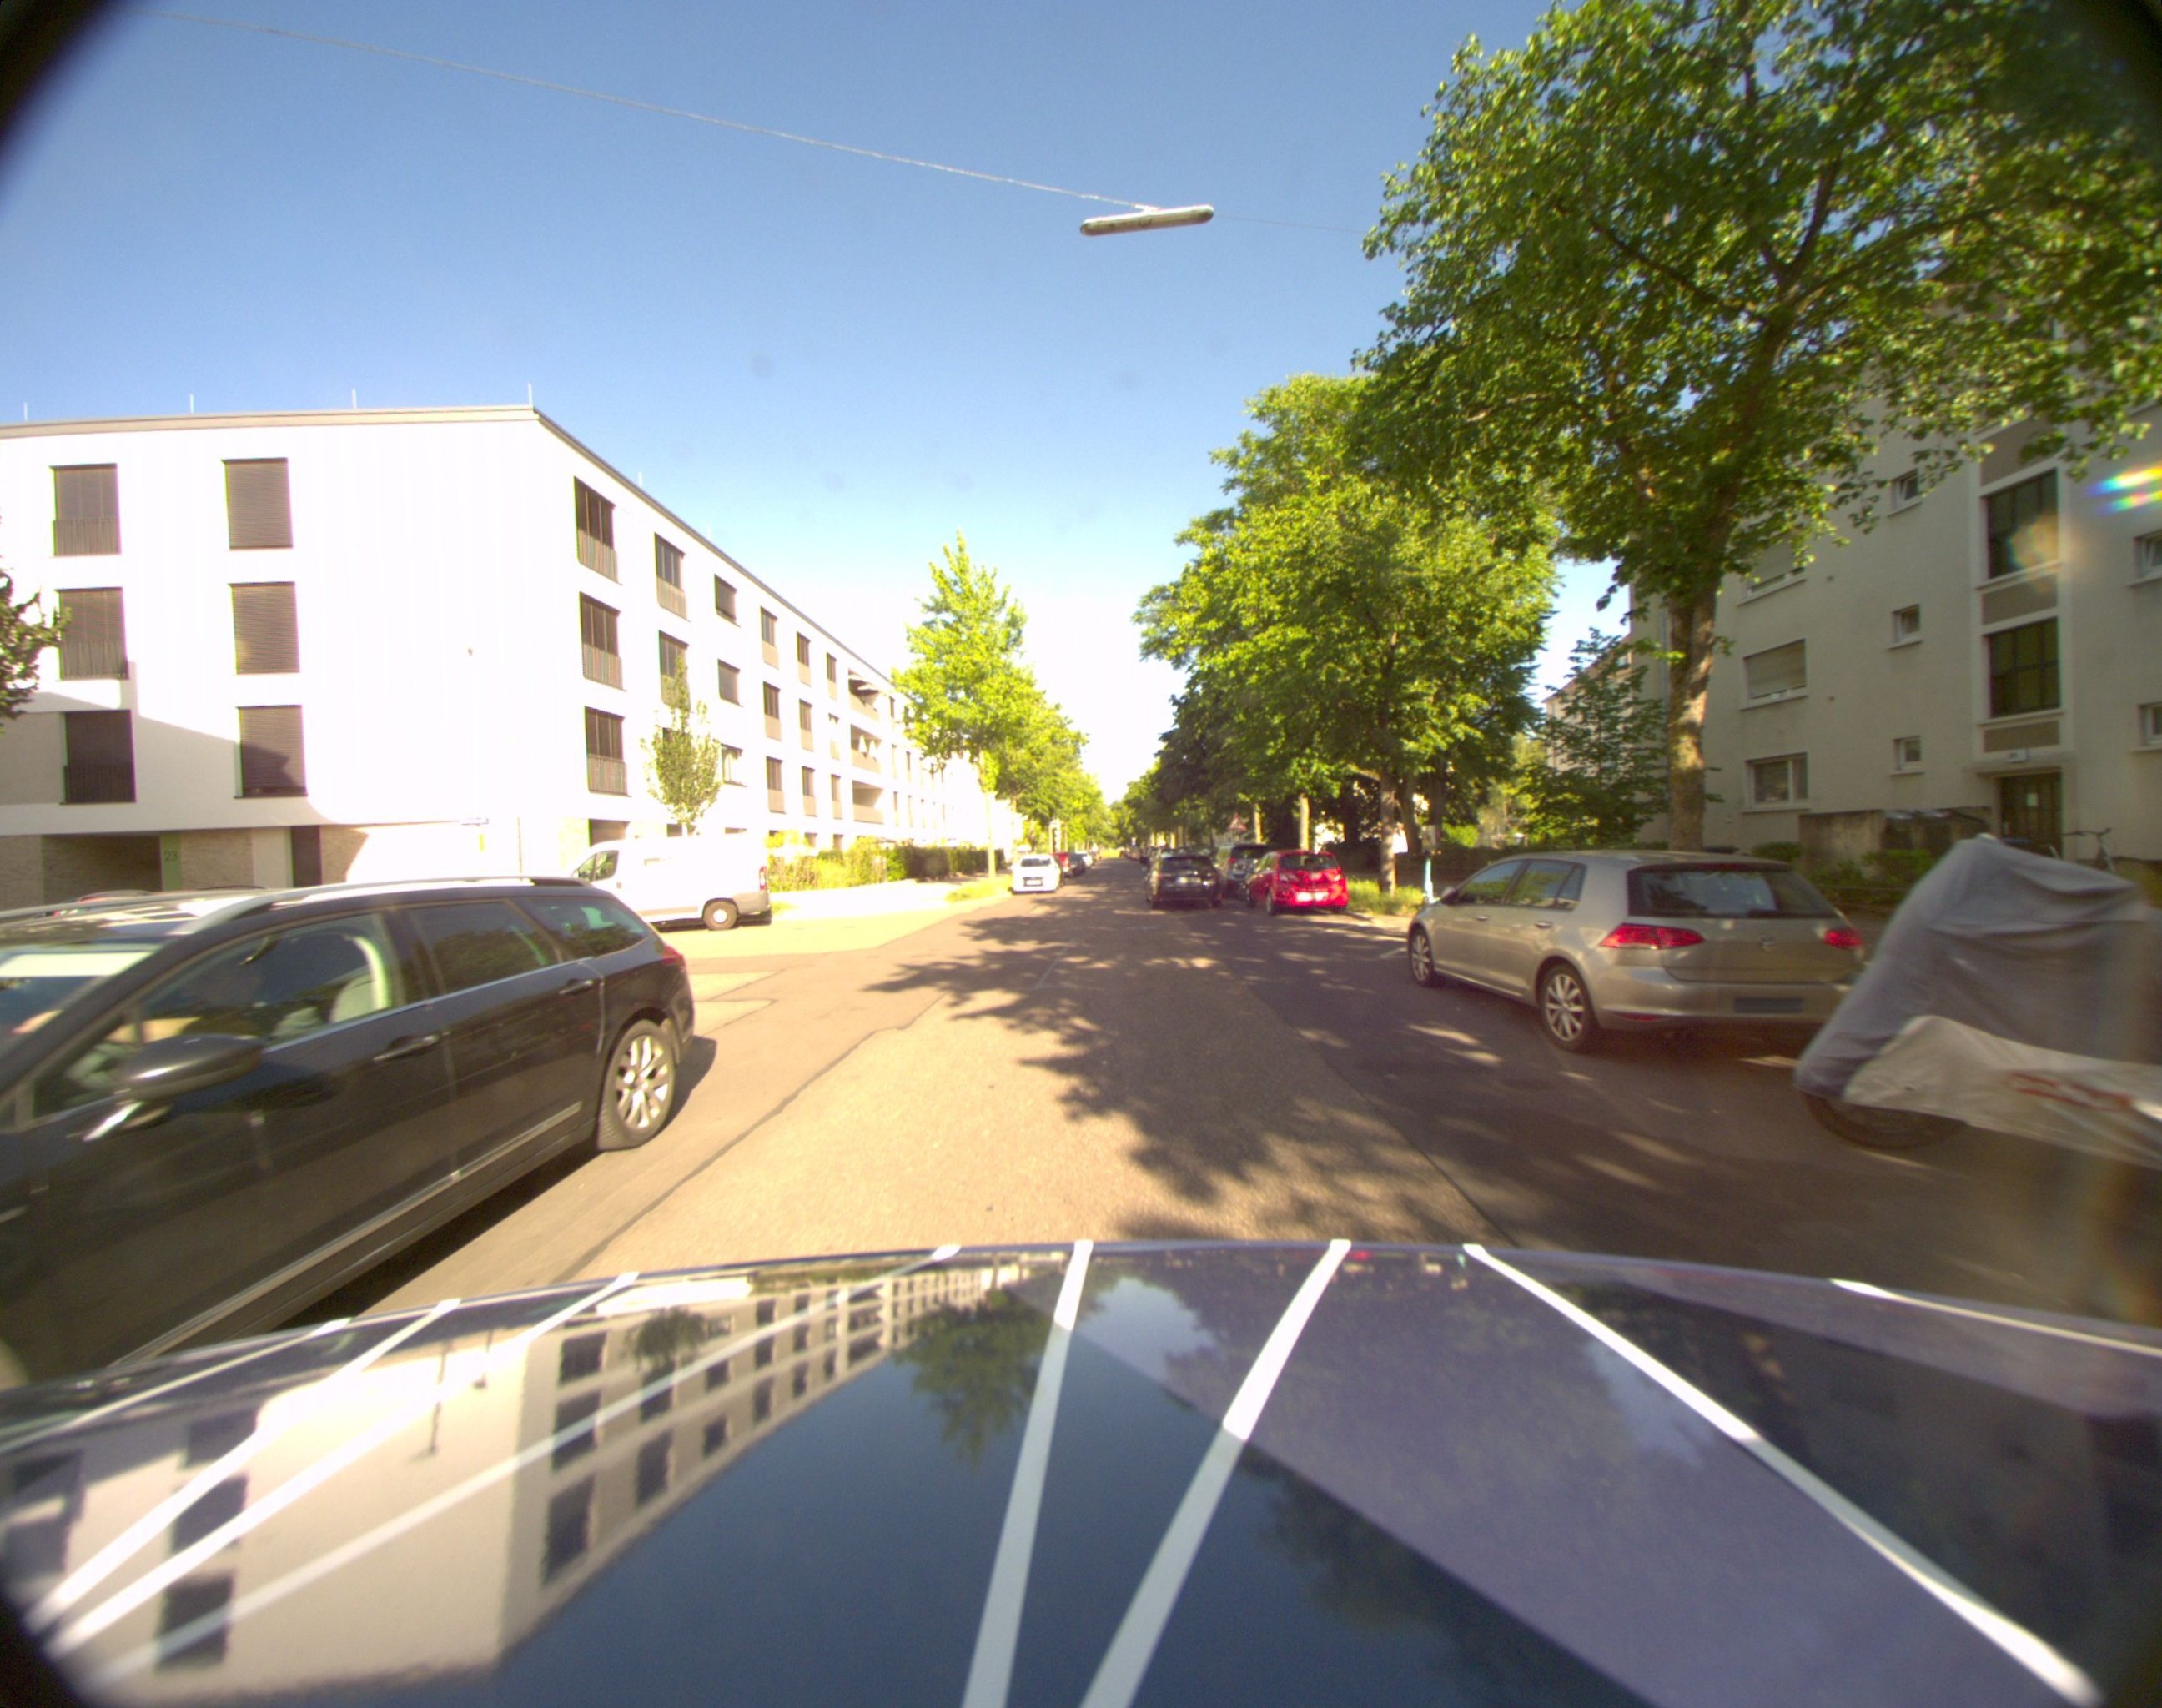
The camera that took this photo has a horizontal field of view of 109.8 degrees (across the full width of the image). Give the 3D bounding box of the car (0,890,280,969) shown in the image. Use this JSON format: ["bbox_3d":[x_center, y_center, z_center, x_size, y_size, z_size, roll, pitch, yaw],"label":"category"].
[{"bbox_3d":[-21.005,1.629,16.613,4.940,1.420,1.962,-2,-1,1],"label":"car"}]

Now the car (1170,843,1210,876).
[{"bbox_3d":[5.729,0.247,40.399,1.710,1.568,4.482,-1,1,3],"label":"car"}]

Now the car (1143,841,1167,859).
[{"bbox_3d":[7.120,-0.433,73.483,1.798,1.676,4.525,-1,1,-1],"label":"car"}]

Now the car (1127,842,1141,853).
[{"bbox_3d":[9.180,-1.210,131.862,1.891,1.797,3.914,-2,1,-2],"label":"car"}]

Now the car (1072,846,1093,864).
[{"bbox_3d":[0.115,0.053,70.369,1.786,1.509,4.686,-3,1,-2],"label":"car"}]

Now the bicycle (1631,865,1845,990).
[{"bbox_3d":[6.752,0.693,7.983,0.532,1.009,2.091,-9,0,8],"label":"bicycle"}]

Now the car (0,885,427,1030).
[{"bbox_3d":[-11.366,1.255,9.934,4.724,1.461,1.955,-2,1,17],"label":"car"}]

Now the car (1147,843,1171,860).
[{"bbox_3d":[6.917,-0.254,67.787,1.798,1.444,4.489,-1,1,1],"label":"car"}]

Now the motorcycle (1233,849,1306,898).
[{"bbox_3d":[5.324,0.556,21.567,1.956,1.324,0.788,-2,1,10],"label":"motorcycle"}]

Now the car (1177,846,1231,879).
[{"bbox_3d":[5.621,0.340,35.186,1.789,1.345,4.481,-1,1,1],"label":"car"}]

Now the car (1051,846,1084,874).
[{"bbox_3d":[-0.821,0.338,50.019,1.797,1.634,4.819,-4,1,2],"label":"car"}]

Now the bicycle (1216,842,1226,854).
[{"bbox_3d":[13.463,-0.567,73.189,0.596,1.183,2.261,-1,1,1],"label":"bicycle"}]

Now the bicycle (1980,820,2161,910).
[{"bbox_3d":[15.275,0.141,11.797,0.399,1.282,1.914,-2,1,1],"label":"bicycle"}]

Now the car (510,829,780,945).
[{"bbox_3d":[-9.795,0.655,17.683,5.061,2.293,2.230,-2,1,-21],"label":"car"}]

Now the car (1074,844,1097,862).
[{"bbox_3d":[0.447,-0.093,76.323,1.901,1.638,4.862,-3,1,4],"label":"car"}]

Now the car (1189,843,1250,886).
[{"bbox_3d":[5.342,0.349,29.763,1.773,1.522,4.419,-2,1,3],"label":"car"}]

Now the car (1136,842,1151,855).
[{"bbox_3d":[8.279,-0.749,101.250,1.863,1.718,4.000,0,1,3],"label":"car"}]

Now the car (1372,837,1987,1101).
[{"bbox_3d":[4.423,0.666,6.816,2.047,1.515,4.606,-2,1,3],"label":"car"}]

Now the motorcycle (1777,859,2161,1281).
[{"bbox_3d":[4.323,0.781,2.967,0.991,1.495,2.227,-2,1,-38],"label":"motorcycle"}]

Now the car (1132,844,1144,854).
[{"bbox_3d":[8.641,-0.752,114.936,1.605,1.382,3.812,-2,1,2],"label":"car"}]

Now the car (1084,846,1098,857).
[{"bbox_3d":[1.421,-0.368,103.344,1.670,1.456,3.536,-1,1,4],"label":"car"}]

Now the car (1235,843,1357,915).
[{"bbox_3d":[5.004,0.514,18.272,1.860,1.461,4.182,-2,1,2],"label":"car"}]

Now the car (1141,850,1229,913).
[{"bbox_3d":[2.668,0.650,20.416,1.813,1.437,4.365,-1,1,1],"label":"car"}]

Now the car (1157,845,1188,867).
[{"bbox_3d":[6.241,0.112,52.201,1.658,1.365,4.189,-1,1,1],"label":"car"}]

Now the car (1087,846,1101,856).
[{"bbox_3d":[1.865,-0.441,108.111,1.670,1.456,3.536,-1,1,4],"label":"car"}]

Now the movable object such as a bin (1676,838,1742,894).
[{"bbox_3d":[12.433,0.225,15.061,0.695,1.062,0.760,-2,1,3],"label":"movable object such as a bin"}]

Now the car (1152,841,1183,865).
[{"bbox_3d":[6.487,-0.093,57.470,1.846,1.647,5.087,-1,1,2],"label":"car"}]

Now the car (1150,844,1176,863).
[{"bbox_3d":[6.729,-0.041,62.771,1.710,1.472,4.489,-1,1,1],"label":"car"}]

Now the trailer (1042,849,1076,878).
[{"bbox_3d":[-1.268,0.529,45.310,1.578,1.569,3.192,-4,1,4],"label":"trailer"}]

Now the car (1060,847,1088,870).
[{"bbox_3d":[-0.505,0.293,56.188,1.722,1.508,4.345,-3,1,3],"label":"car"}]

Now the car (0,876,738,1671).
[{"bbox_3d":[-3.285,1.014,2.509,1.900,1.516,4.966,-3,2,1],"label":"car"}]

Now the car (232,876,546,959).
[{"bbox_3d":[-14.916,1.329,16.614,4.940,1.461,2.047,-2,1,0],"label":"car"}]

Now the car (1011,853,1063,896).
[{"bbox_3d":[-1.682,0.754,30.401,1.737,1.478,4.009,-3,1,0],"label":"car"}]

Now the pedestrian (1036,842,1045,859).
[{"bbox_3d":[-4.904,-0.415,91.835,0.907,2.002,1.006,-1,1,3],"label":"pedestrian"}]

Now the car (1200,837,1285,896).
[{"bbox_3d":[5.082,0.334,24.531,1.772,1.678,4.814,-1,1,1],"label":"car"}]

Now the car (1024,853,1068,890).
[{"bbox_3d":[-1.537,0.740,34.970,1.674,1.442,4.178,-4,1,1],"label":"car"}]

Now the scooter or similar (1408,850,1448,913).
[{"bbox_3d":[7.332,0.550,16.012,0.555,1.228,1.516,-1,1,32],"label":"scooter or similar"}]
